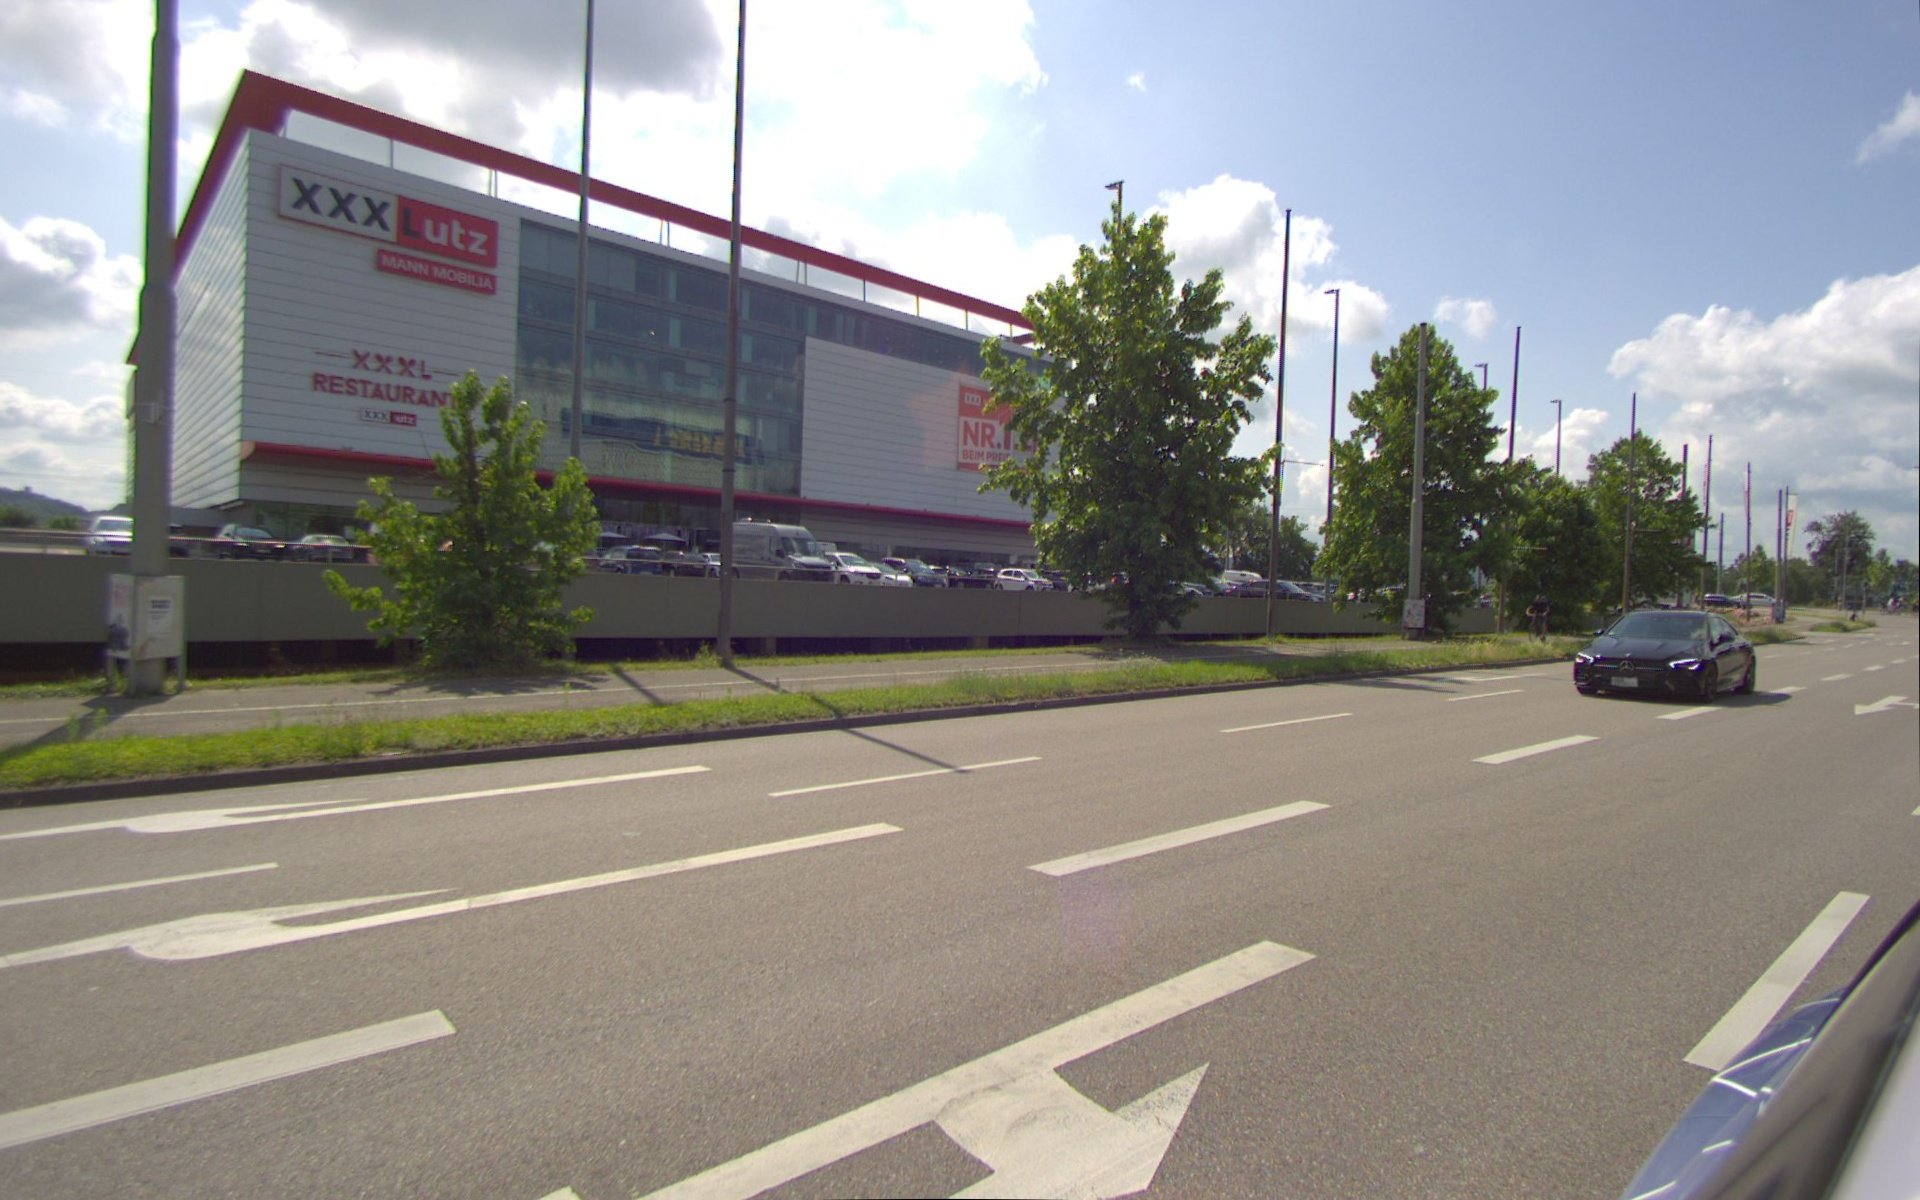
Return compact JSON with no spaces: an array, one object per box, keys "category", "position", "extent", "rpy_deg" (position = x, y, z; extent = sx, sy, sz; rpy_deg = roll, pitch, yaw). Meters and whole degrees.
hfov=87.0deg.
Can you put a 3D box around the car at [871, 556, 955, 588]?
[{"category":"car","position":[-2.350,-1.348,49.532],"extent":[1.861,1.452,4.188],"rpy_deg":[2,0,-43]}]

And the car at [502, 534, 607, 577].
[{"category":"car","position":[-15.159,-1.625,37.717],"extent":[1.954,1.472,4.871],"rpy_deg":[0,1,-44]}]

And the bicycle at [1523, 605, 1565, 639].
[{"category":"bicycle","position":[19.483,0.724,33.755],"extent":[1.934,1.081,0.624],"rpy_deg":[1,1,-43]}]

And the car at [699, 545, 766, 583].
[{"category":"car","position":[-11.933,-1.866,53.004],"extent":[1.744,1.861,3.890],"rpy_deg":[2,0,-42]}]

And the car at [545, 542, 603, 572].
[{"category":"car","position":[-20.592,-2.275,53.954],"extent":[1.607,1.461,3.902],"rpy_deg":[2,0,-42]}]

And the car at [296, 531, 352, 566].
[{"category":"car","position":[-28.606,-2.293,45.467],"extent":[1.557,1.428,3.531],"rpy_deg":[2,0,-42]}]

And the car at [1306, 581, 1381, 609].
[{"category":"car","position":[24.963,-0.342,65.994],"extent":[1.735,1.571,4.187],"rpy_deg":[2,2,-44]}]

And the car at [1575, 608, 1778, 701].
[{"category":"car","position":[11.920,0.812,16.750],"extent":[4.089,1.335,1.796],"rpy_deg":[1,0,-40]}]

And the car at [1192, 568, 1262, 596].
[{"category":"car","position":[32.491,-2.253,123.500],"extent":[3.066,3.193,7.898],"rpy_deg":[0,2,-39]}]

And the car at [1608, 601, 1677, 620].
[{"category":"car","position":[55.714,0.828,82.692],"extent":[1.824,1.495,4.366],"rpy_deg":[0,0,-41]}]

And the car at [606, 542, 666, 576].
[{"category":"car","position":[-17.752,-2.213,55.383],"extent":[1.719,1.727,3.746],"rpy_deg":[2,0,-43]}]

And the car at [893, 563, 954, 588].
[{"category":"car","position":[-2.323,-1.523,63.043],"extent":[1.601,1.438,3.992],"rpy_deg":[2,0,-42]}]

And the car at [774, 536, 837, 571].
[{"category":"car","position":[-9.482,-2.781,61.926],"extent":[1.966,1.976,3.992],"rpy_deg":[2,0,-42]}]

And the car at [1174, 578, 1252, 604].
[{"category":"car","position":[14.674,-0.529,58.836],"extent":[1.659,1.341,4.190],"rpy_deg":[1,2,-42]}]

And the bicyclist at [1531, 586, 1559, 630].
[{"category":"bicyclist","position":[19.529,0.268,33.784],"extent":[0.702,1.430,0.616],"rpy_deg":[2,0,-42]}]

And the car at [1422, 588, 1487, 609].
[{"category":"car","position":[39.857,-0.136,81.669],"extent":[1.598,1.460,4.368],"rpy_deg":[2,1,-40]}]

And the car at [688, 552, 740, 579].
[{"category":"car","position":[-14.213,-1.989,58.435],"extent":[1.523,1.455,3.389],"rpy_deg":[2,0,-40]}]

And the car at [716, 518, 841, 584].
[{"category":"car","position":[-7.209,-1.838,39.745],"extent":[2.028,2.396,5.663],"rpy_deg":[0,1,-44]}]

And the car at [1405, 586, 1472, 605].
[{"category":"car","position":[37.715,-0.347,79.846],"extent":[1.814,1.379,4.367],"rpy_deg":[0,1,-41]}]

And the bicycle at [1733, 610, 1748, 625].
[{"category":"bicycle","position":[51.848,1.166,67.234],"extent":[1.518,0.964,0.517],"rpy_deg":[0,1,-43]}]

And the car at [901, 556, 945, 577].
[{"category":"car","position":[-3.035,-2.695,82.014],"extent":[1.595,1.673,3.586],"rpy_deg":[2,0,-44]}]

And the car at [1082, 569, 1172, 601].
[{"category":"car","position":[8.438,-0.753,51.329],"extent":[4.186,1.406,1.862],"rpy_deg":[4,2,45]}]

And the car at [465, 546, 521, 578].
[{"category":"car","position":[-23.169,-1.846,50.186],"extent":[1.557,1.483,3.531],"rpy_deg":[2,0,-42]}]

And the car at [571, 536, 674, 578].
[{"category":"car","position":[-13.323,-1.642,39.763],"extent":[1.954,1.502,4.871],"rpy_deg":[0,1,-44]}]

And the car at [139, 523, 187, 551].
[{"category":"car","position":[-39.096,-3.062,49.636],"extent":[1.665,1.199,3.903],"rpy_deg":[2,0,-41]}]

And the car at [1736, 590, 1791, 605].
[{"category":"car","position":[86.381,-0.300,108.837],"extent":[4.479,1.430,1.984],"rpy_deg":[3,2,41]}]

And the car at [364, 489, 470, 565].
[{"category":"car","position":[-18.527,-2.384,34.403],"extent":[1.953,2.223,5.166],"rpy_deg":[0,0,-43]}]

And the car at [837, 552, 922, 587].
[{"category":"car","position":[-3.820,-1.437,47.271],"extent":[1.697,1.452,4.190],"rpy_deg":[2,2,-43]}]

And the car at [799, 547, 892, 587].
[{"category":"car","position":[-4.680,-1.300,41.034],"extent":[1.718,1.533,3.990],"rpy_deg":[0,1,-44]}]

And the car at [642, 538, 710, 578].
[{"category":"car","position":[-14.430,-2.092,51.367],"extent":[1.744,1.861,3.890],"rpy_deg":[2,0,-42]}]

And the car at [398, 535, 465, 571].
[{"category":"car","position":[-25.339,-2.201,48.470],"extent":[1.965,1.563,3.993],"rpy_deg":[2,0,-41]}]

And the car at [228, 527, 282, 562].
[{"category":"car","position":[-31.654,-2.491,45.387],"extent":[1.557,1.428,3.532],"rpy_deg":[2,2,-42]}]

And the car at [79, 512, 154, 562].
[{"category":"car","position":[-30.746,-2.244,36.836],"extent":[3.896,1.595,1.609],"rpy_deg":[1,0,43]}]

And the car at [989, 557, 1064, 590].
[{"category":"car","position":[3.698,-1.491,56.785],"extent":[1.965,1.742,3.993],"rpy_deg":[2,0,-42]}]
